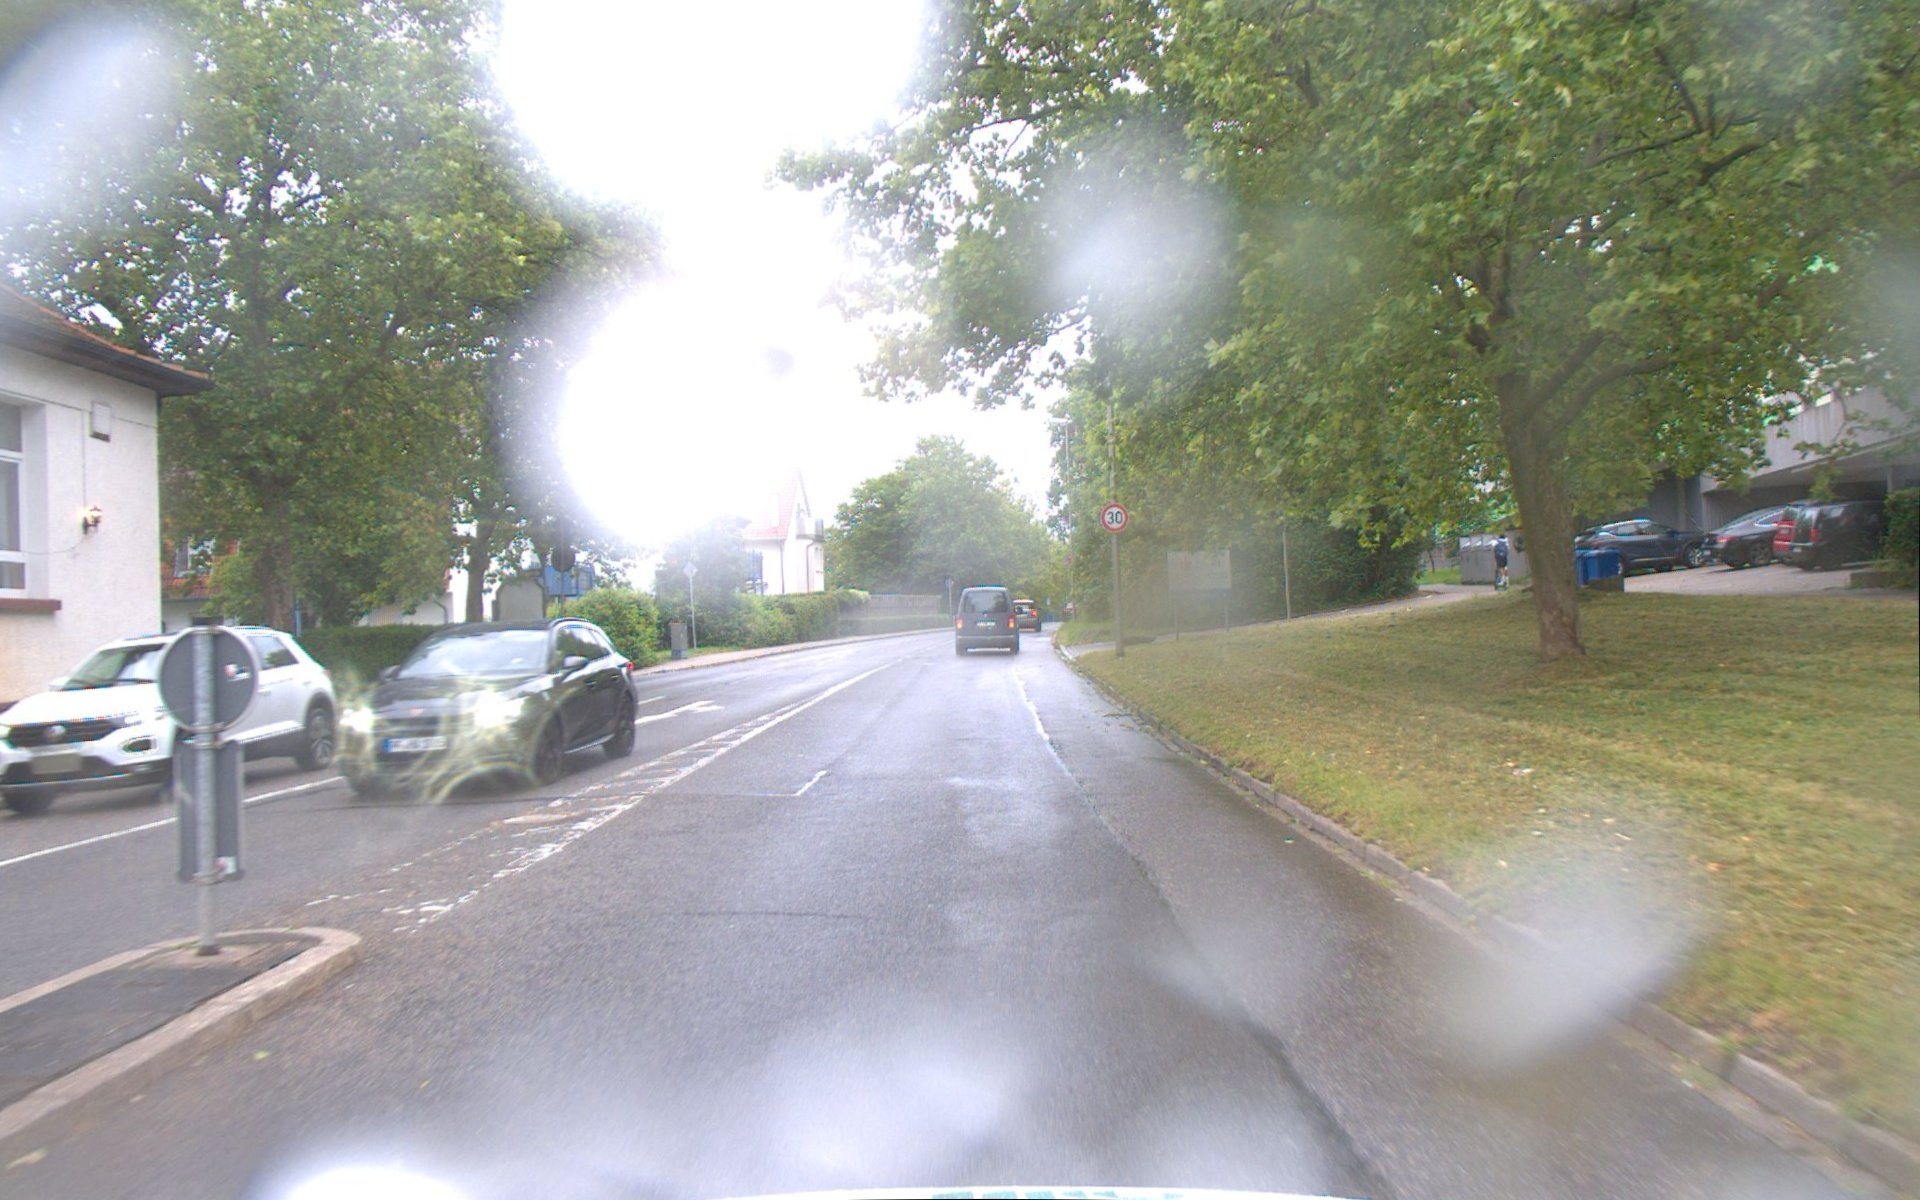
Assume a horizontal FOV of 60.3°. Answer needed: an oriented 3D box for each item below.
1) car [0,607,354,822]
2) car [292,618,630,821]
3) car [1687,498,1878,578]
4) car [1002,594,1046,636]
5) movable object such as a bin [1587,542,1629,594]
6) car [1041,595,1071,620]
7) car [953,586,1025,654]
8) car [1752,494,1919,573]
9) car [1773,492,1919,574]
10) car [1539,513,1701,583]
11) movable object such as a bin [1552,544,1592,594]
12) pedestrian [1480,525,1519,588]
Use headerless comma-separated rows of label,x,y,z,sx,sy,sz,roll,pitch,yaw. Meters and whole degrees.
car,-7.859,1.022,16.388,1.952,1.713,4.002,-4,0,3
car,-4.446,0.981,15.502,1.954,1.454,4.385,-3,0,-3
car,21.105,-1.578,42.575,3.902,1.780,2.002,-3,0,9
car,3.000,0.653,76.941,1.909,1.780,4.002,-3,0,3
movable object such as a bin,14.577,-0.712,37.206,0.655,1.140,0.662,0,-1,-3
car,7.214,0.568,124.576,1.953,1.780,3.999,0,0,0
car,0.790,0.524,46.854,1.952,1.825,4.000,0,0,0
car,21.654,-1.615,40.158,3.903,1.691,1.961,-3,0,6
car,20.990,-1.535,37.721,3.902,1.668,2.002,-3,0,9
car,19.393,-1.518,48.683,3.910,1.780,1.998,-3,0,-6
movable object such as a bin,14.050,-0.708,37.976,0.655,1.140,0.662,0,-1,-3
pedestrian,15.794,-1.262,48.448,0.651,1.780,0.846,-3,0,-16
